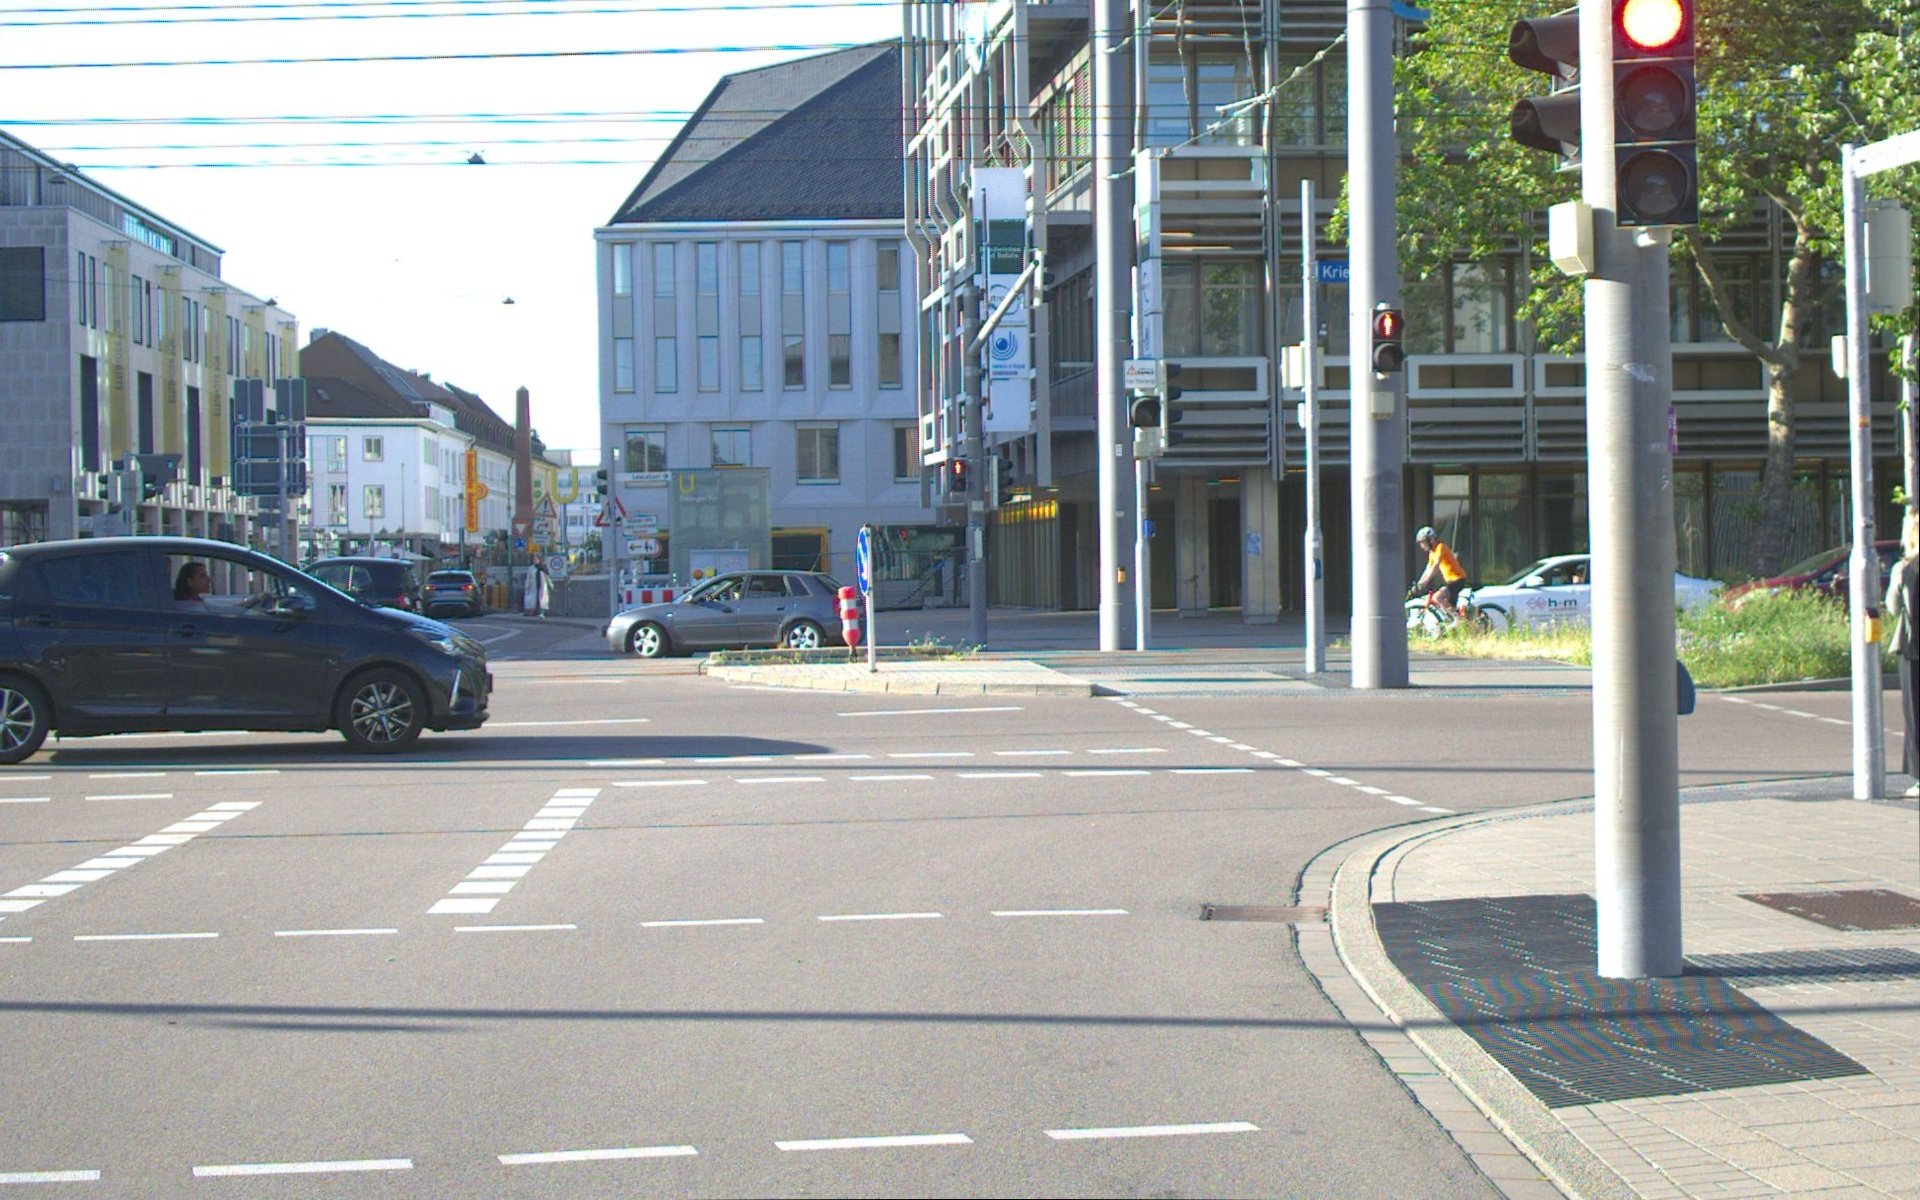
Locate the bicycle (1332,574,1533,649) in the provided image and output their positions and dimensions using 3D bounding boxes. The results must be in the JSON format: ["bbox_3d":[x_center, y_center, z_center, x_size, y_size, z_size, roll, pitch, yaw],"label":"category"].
[{"bbox_3d":[6.467,0.153,47.114,2.568,0.972,1.047,-1,1,-3],"label":"bicycle"}]

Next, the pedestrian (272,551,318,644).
[{"bbox_3d":[-12.254,-0.047,63.344,0.700,1.682,0.619,-1,1,0],"label":"pedestrian"}]

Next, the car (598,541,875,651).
[{"bbox_3d":[-3.514,-0.069,54.254,3.989,1.678,1.824,-1,1,13],"label":"car"}]

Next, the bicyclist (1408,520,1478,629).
[{"bbox_3d":[6.619,-0.356,47.124,0.822,1.469,0.652,-1,1,-4],"label":"bicyclist"}]

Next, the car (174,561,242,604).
[{"bbox_3d":[-26.565,-0.618,121.566,1.658,1.453,3.542,-1,1,-1],"label":"car"}]

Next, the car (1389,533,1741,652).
[{"bbox_3d":[8.953,-0.130,51.085,4.844,1.678,1.826,-1,1,-3],"label":"car"}]

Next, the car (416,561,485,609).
[{"bbox_3d":[-16.012,-0.482,108.076,1.658,1.453,3.542,-1,1,-1],"label":"car"}]

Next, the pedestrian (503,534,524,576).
[{"bbox_3d":[-21.389,-2.158,164.683,0.910,1.958,0.823,1,0,-1],"label":"pedestrian"}]

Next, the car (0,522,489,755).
[{"bbox_3d":[-5.316,0.239,23.868,3.860,1.505,1.672,-1,1,-15],"label":"car"}]

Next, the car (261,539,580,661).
[{"bbox_3d":[-7.803,-0.015,50.033,4.403,1.678,1.826,-1,1,-3],"label":"car"}]

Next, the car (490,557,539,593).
[{"bbox_3d":[-18.897,-1.081,145.847,1.658,1.453,3.542,-1,1,-1],"label":"car"}]

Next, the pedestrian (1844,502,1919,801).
[{"bbox_3d":[5.376,0.265,18.912,0.765,1.608,0.874,-1,1,-2],"label":"pedestrian"}]

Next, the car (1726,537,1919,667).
[{"bbox_3d":[12.748,-0.004,46.480,4.287,1.678,1.826,-1,1,-11],"label":"car"}]

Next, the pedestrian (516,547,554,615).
[{"bbox_3d":[-11.338,-0.514,91.757,0.899,1.776,0.808,-1,1,-1],"label":"pedestrian"}]
